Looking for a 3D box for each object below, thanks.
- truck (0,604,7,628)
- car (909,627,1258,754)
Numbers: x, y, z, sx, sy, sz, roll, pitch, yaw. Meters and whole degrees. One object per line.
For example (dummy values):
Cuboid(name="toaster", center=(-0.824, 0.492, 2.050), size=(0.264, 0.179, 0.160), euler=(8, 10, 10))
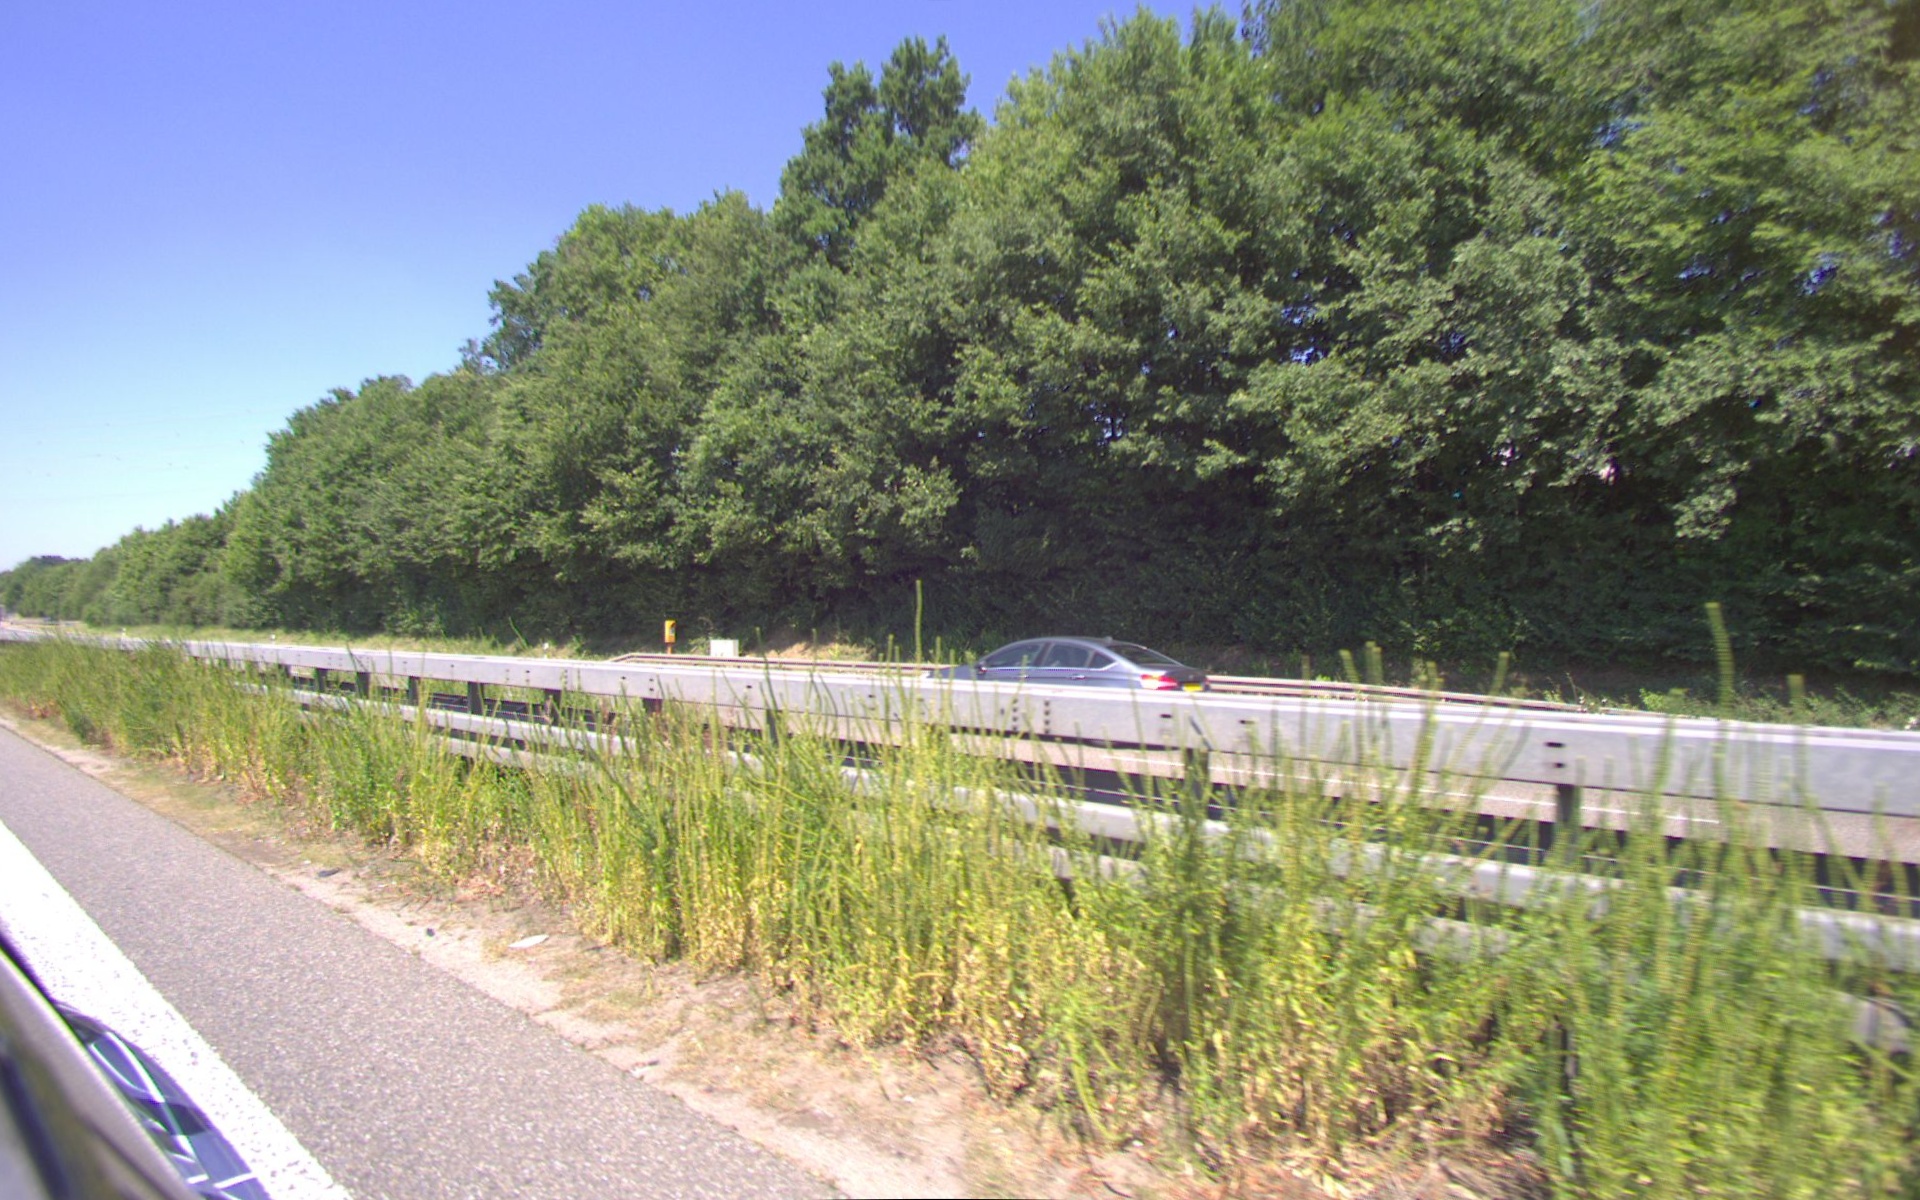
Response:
Cuboid(name="truck", center=(-159.705, 2.640, 166.809), size=(11.153, 3.766, 2.754), euler=(0, 0, 41))
Cuboid(name="car", center=(1.643, 1.182, 14.585), size=(4.719, 1.530, 1.973), euler=(-1, -3, 41))
